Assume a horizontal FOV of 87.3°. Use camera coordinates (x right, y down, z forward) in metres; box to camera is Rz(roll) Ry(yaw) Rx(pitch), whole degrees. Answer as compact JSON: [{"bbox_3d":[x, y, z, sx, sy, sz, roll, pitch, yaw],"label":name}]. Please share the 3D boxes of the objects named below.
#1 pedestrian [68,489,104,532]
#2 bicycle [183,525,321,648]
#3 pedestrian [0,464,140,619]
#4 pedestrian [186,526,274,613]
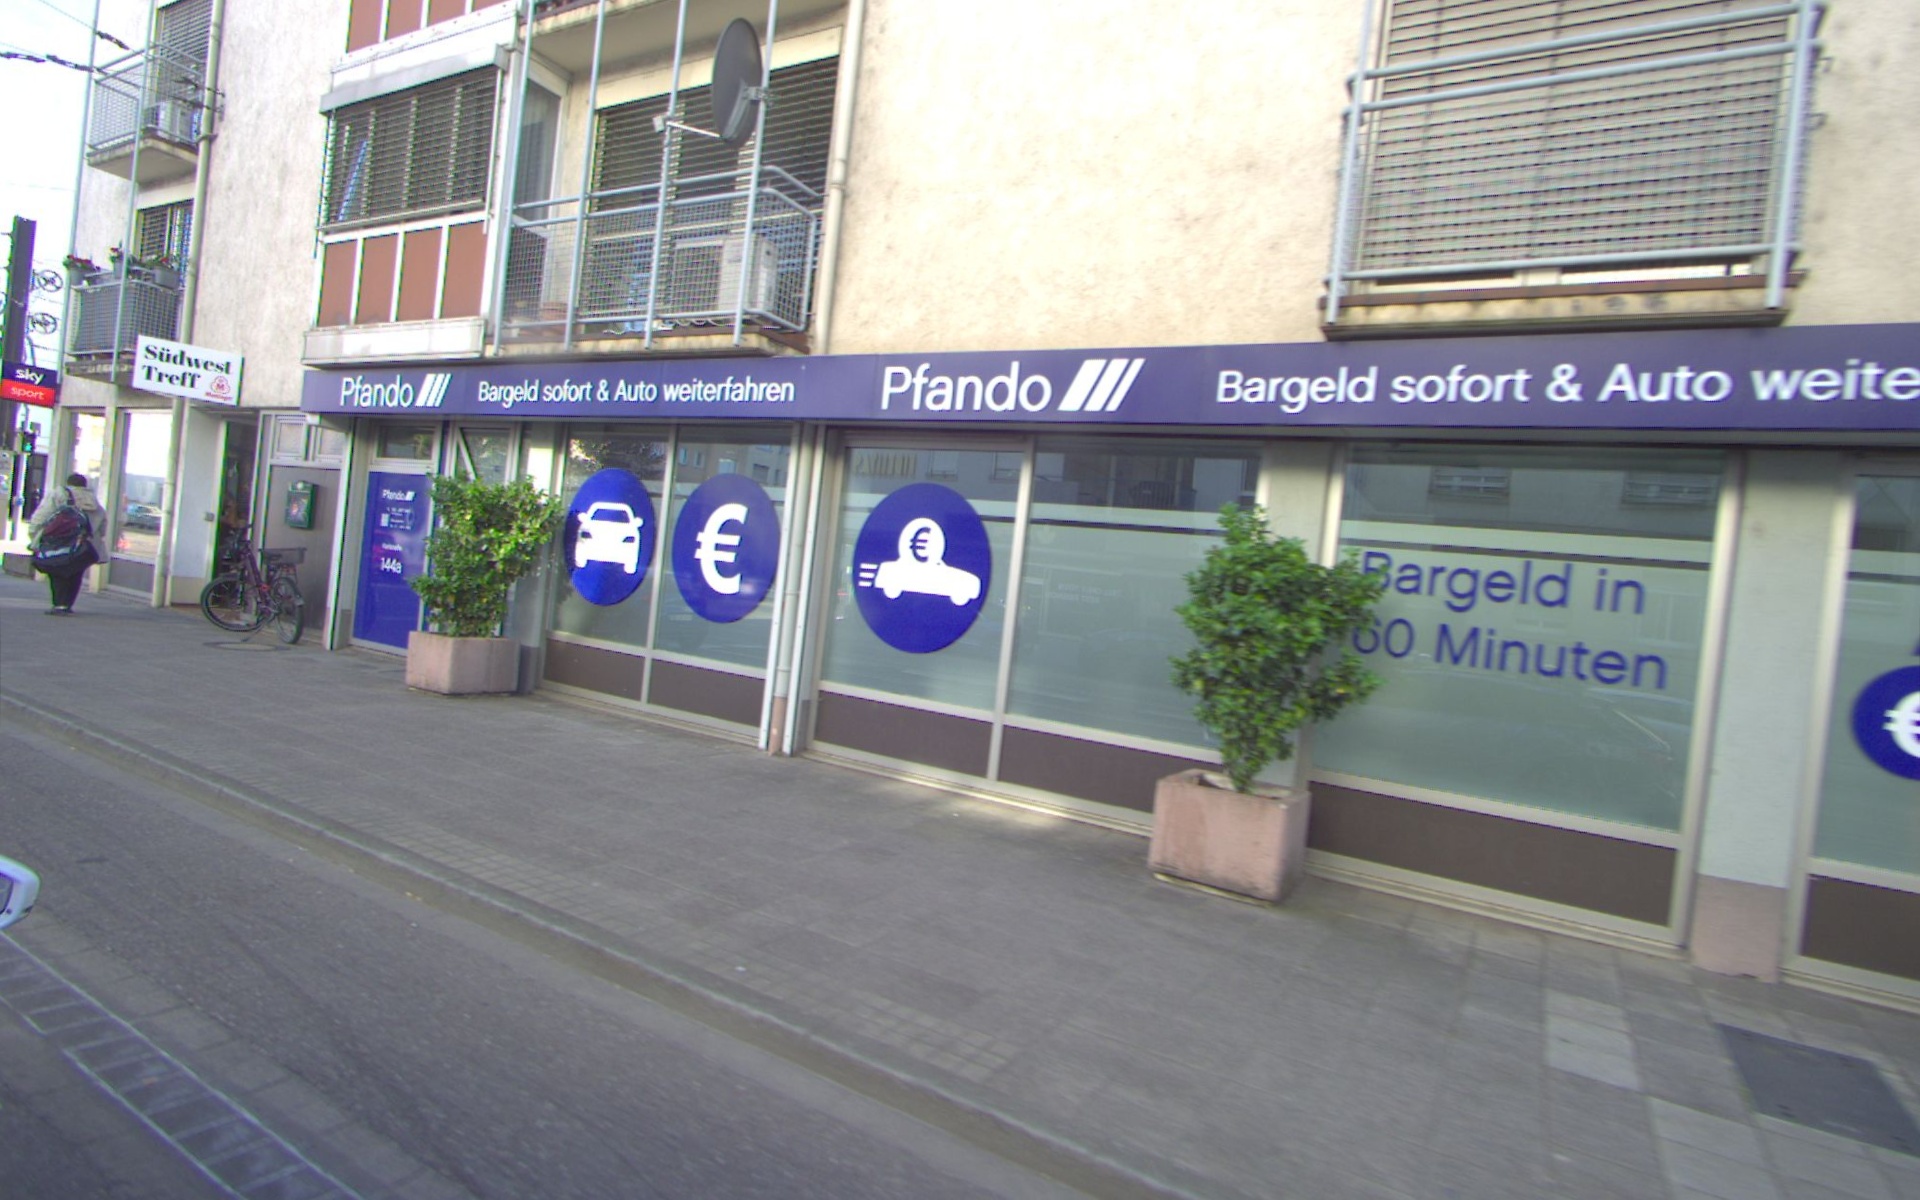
[{"bbox_3d":[-39.434,-4.027,45.390,0.725,1.766,0.909,6,-1,31],"label":"pedestrian"},{"bbox_3d":[-7.795,-0.163,11.054,1.747,1.176,0.497,6,0,31],"label":"bicycle"},{"bbox_3d":[-9.971,-0.636,11.284,0.796,1.614,0.885,8,3,26],"label":"pedestrian"},{"bbox_3d":[-10.112,-0.422,13.955,0.667,1.102,0.624,7,2,-3],"label":"pedestrian"}]
